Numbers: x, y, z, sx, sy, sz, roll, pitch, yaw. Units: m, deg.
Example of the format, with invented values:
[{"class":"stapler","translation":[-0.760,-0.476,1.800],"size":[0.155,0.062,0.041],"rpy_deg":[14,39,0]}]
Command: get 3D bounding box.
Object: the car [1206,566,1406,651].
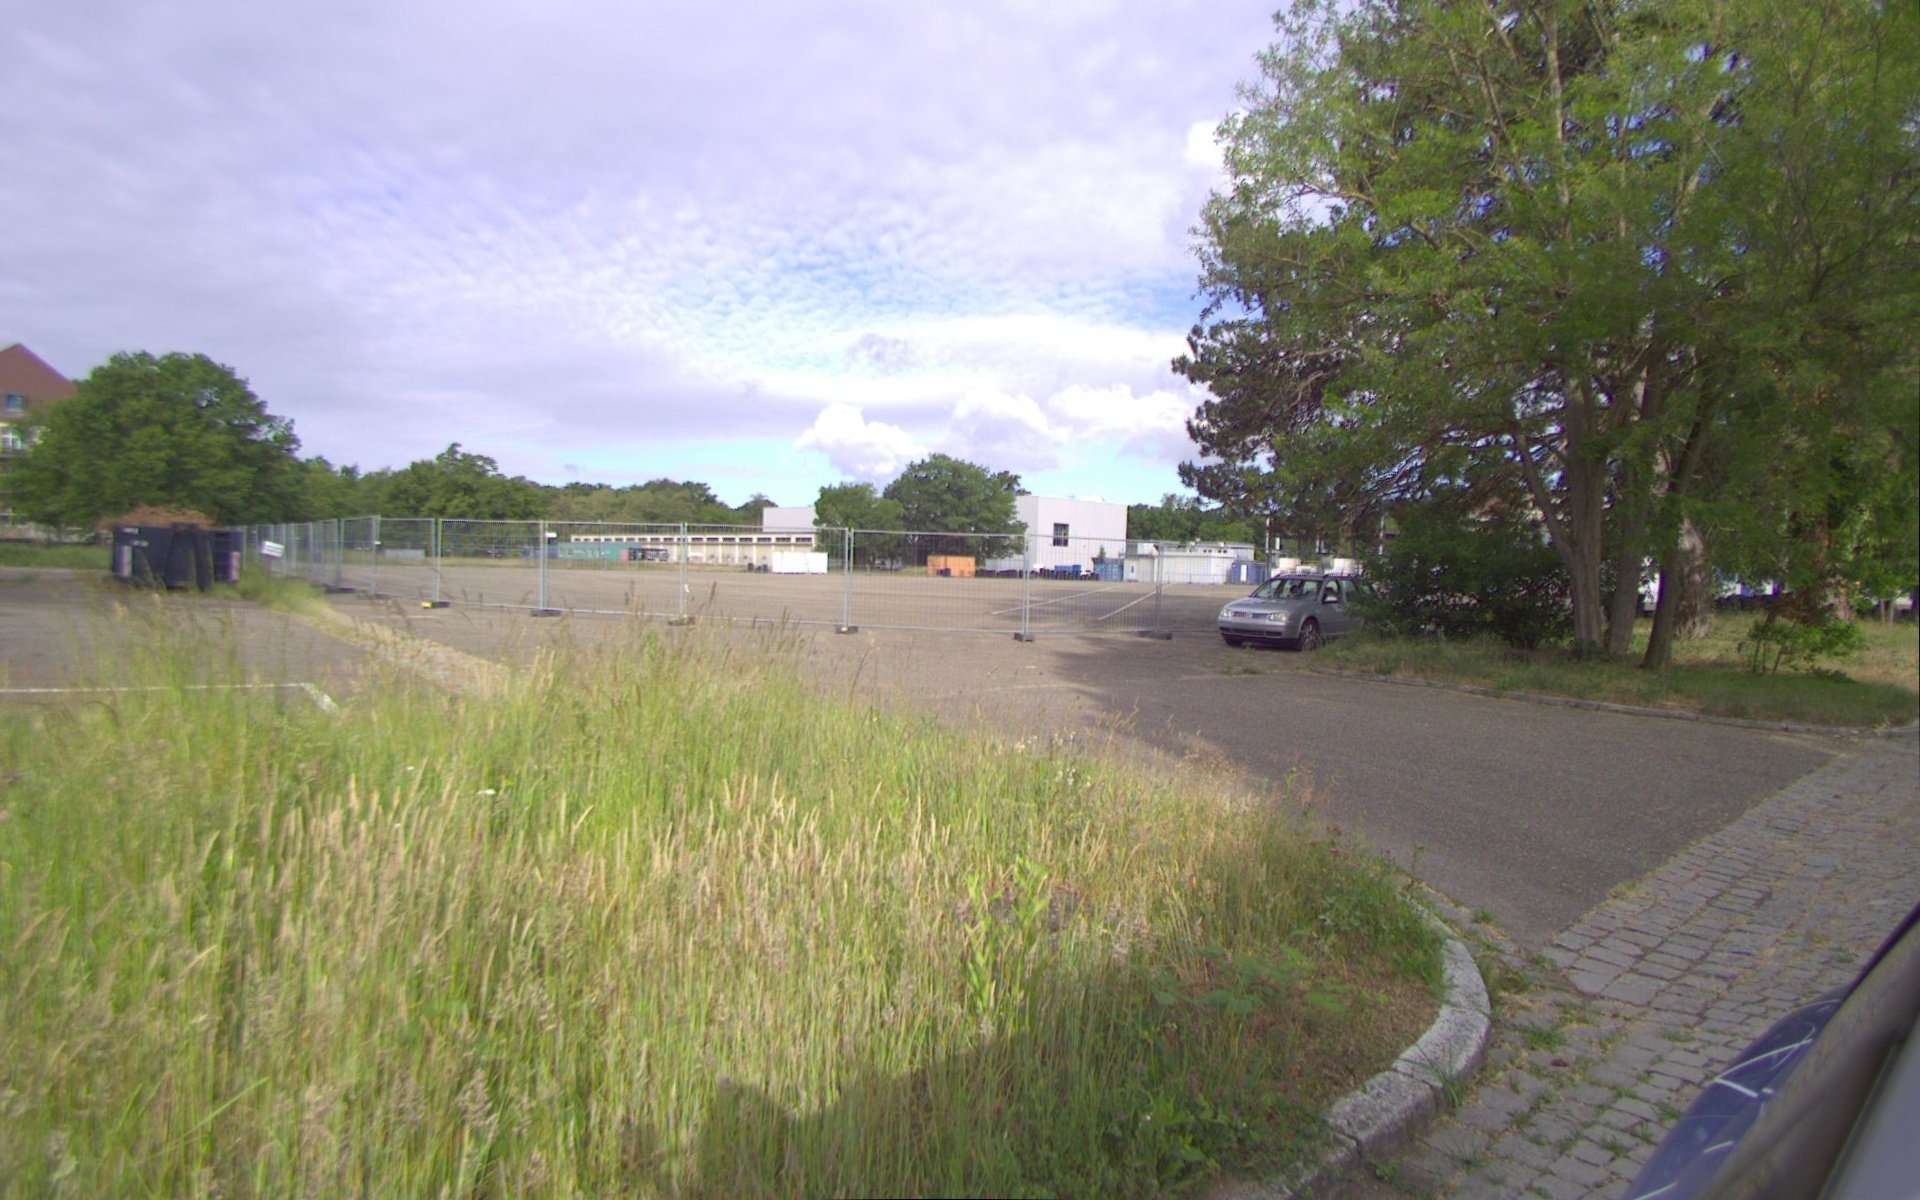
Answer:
[{"class":"car","translation":[6.880,0.122,19.929],"size":[4.251,1.466,1.759],"rpy_deg":[0,3,-40]}]
